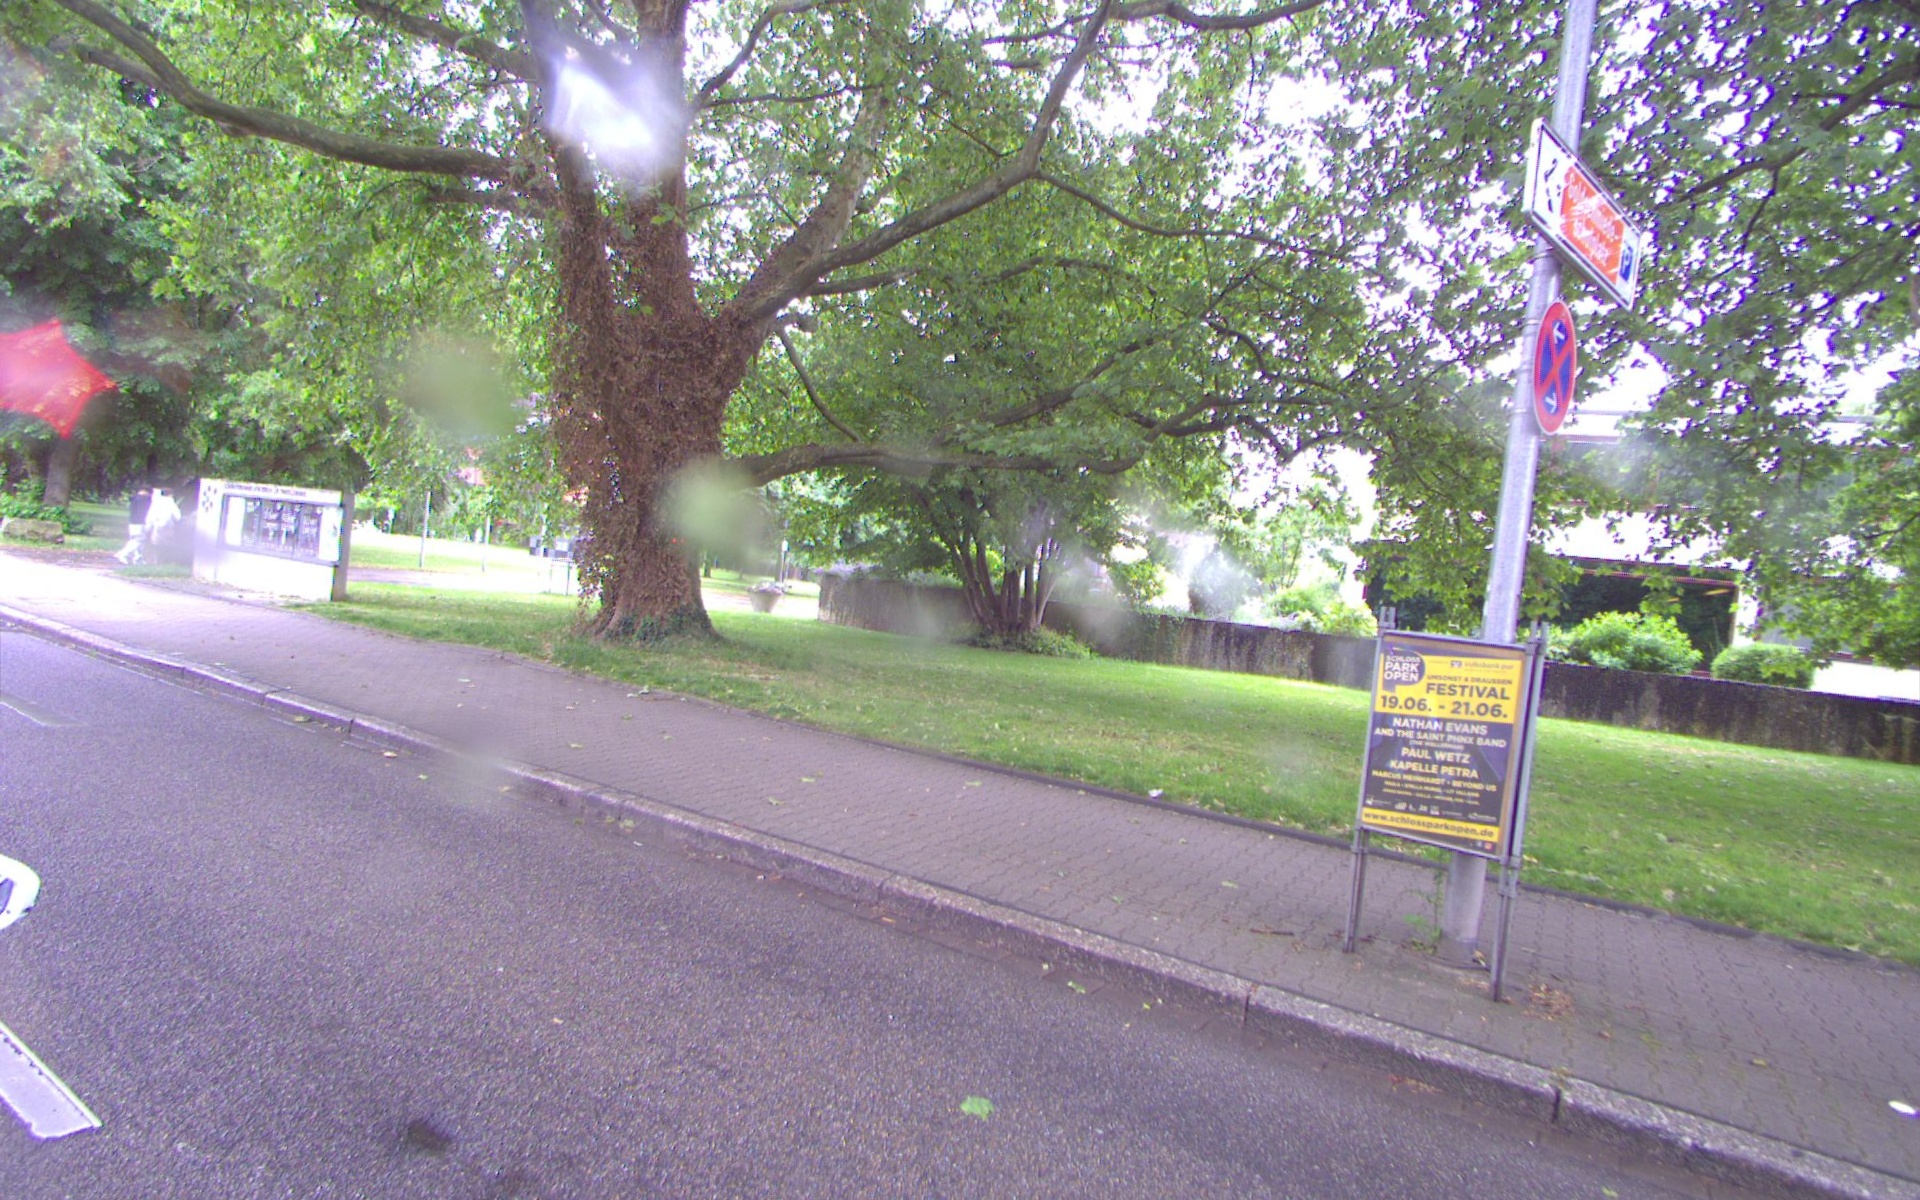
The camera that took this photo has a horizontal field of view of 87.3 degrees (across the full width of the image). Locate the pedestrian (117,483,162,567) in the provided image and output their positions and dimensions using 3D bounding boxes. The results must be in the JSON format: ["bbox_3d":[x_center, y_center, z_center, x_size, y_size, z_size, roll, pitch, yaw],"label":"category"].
[{"bbox_3d":[-17.919,-1.635,21.964,0.550,1.744,0.485,7,2,25],"label":"pedestrian"}]

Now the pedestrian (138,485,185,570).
[{"bbox_3d":[-17.170,-1.549,21.642,0.550,1.744,0.504,7,2,25],"label":"pedestrian"}]
